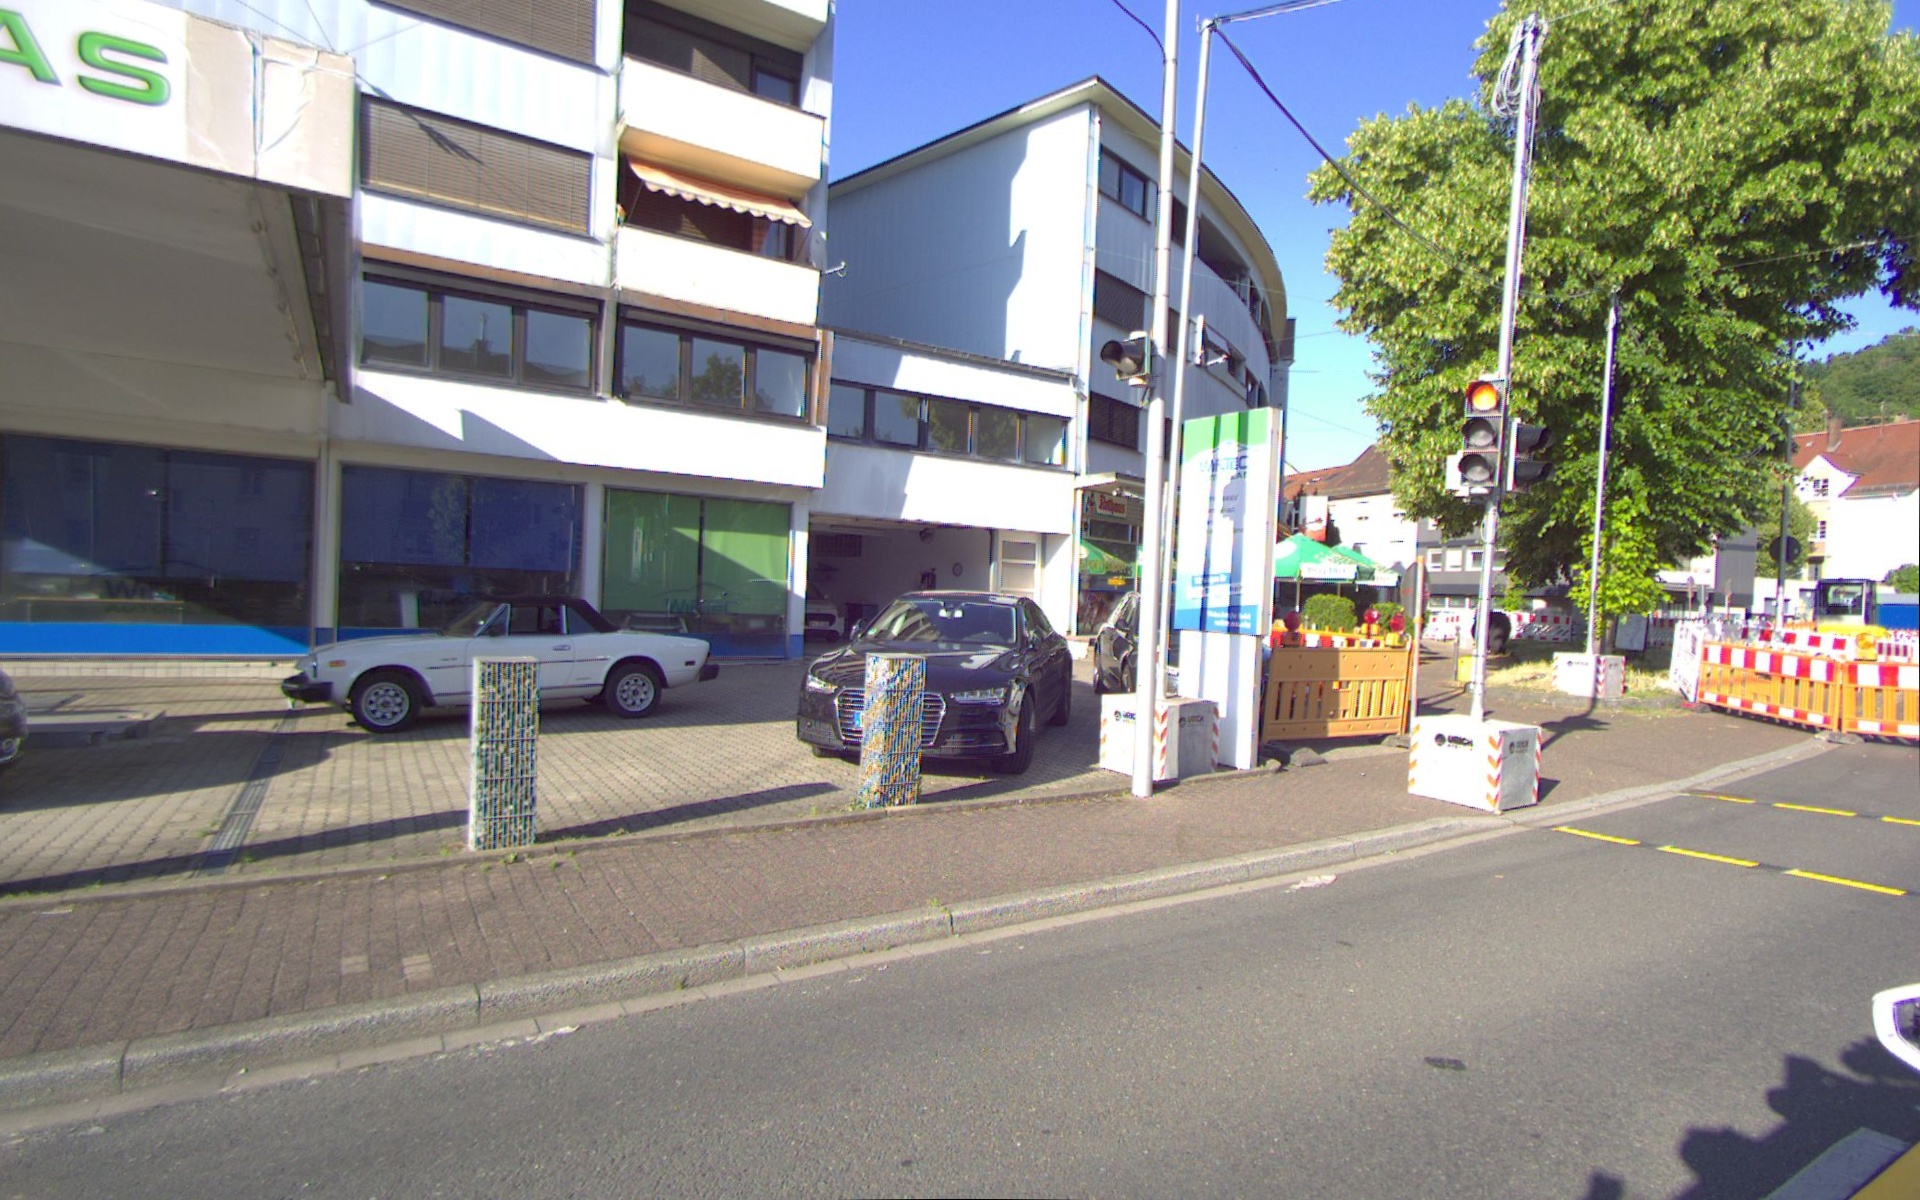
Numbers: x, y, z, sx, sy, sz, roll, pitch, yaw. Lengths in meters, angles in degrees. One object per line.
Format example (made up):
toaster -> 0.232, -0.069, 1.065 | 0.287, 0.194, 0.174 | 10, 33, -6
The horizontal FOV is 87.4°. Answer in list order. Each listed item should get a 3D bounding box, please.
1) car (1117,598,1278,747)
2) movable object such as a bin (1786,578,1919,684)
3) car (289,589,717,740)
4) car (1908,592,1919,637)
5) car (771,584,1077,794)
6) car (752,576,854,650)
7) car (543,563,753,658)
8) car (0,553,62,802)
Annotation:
car -> 2.765, 0.750, 12.081 | 1.564, 1.457, 3.887 | 1, 0, 11
movable object such as a bin -> 21.546, 0.705, 24.147 | 3.882, 2.356, 1.635 | 1, 0, -36
car -> -4.668, 0.598, 10.489 | 3.865, 1.315, 1.511 | 1, -1, -35
car -> 49.531, 0.792, 48.392 | 6.043, 2.149, 2.586 | 2, 0, -12
car -> -0.018, 0.654, 9.572 | 1.893, 1.457, 4.692 | 1, -1, 11
car -> -3.886, 0.260, 24.382 | 1.550, 1.629, 3.734 | 2, 1, -23
car -> -6.093, 0.224, 19.711 | 3.593, 1.696, 1.707 | 2, 0, -34
car -> -7.475, 0.414, 5.860 | 3.305, 1.506, 1.543 | 2, 0, 8
